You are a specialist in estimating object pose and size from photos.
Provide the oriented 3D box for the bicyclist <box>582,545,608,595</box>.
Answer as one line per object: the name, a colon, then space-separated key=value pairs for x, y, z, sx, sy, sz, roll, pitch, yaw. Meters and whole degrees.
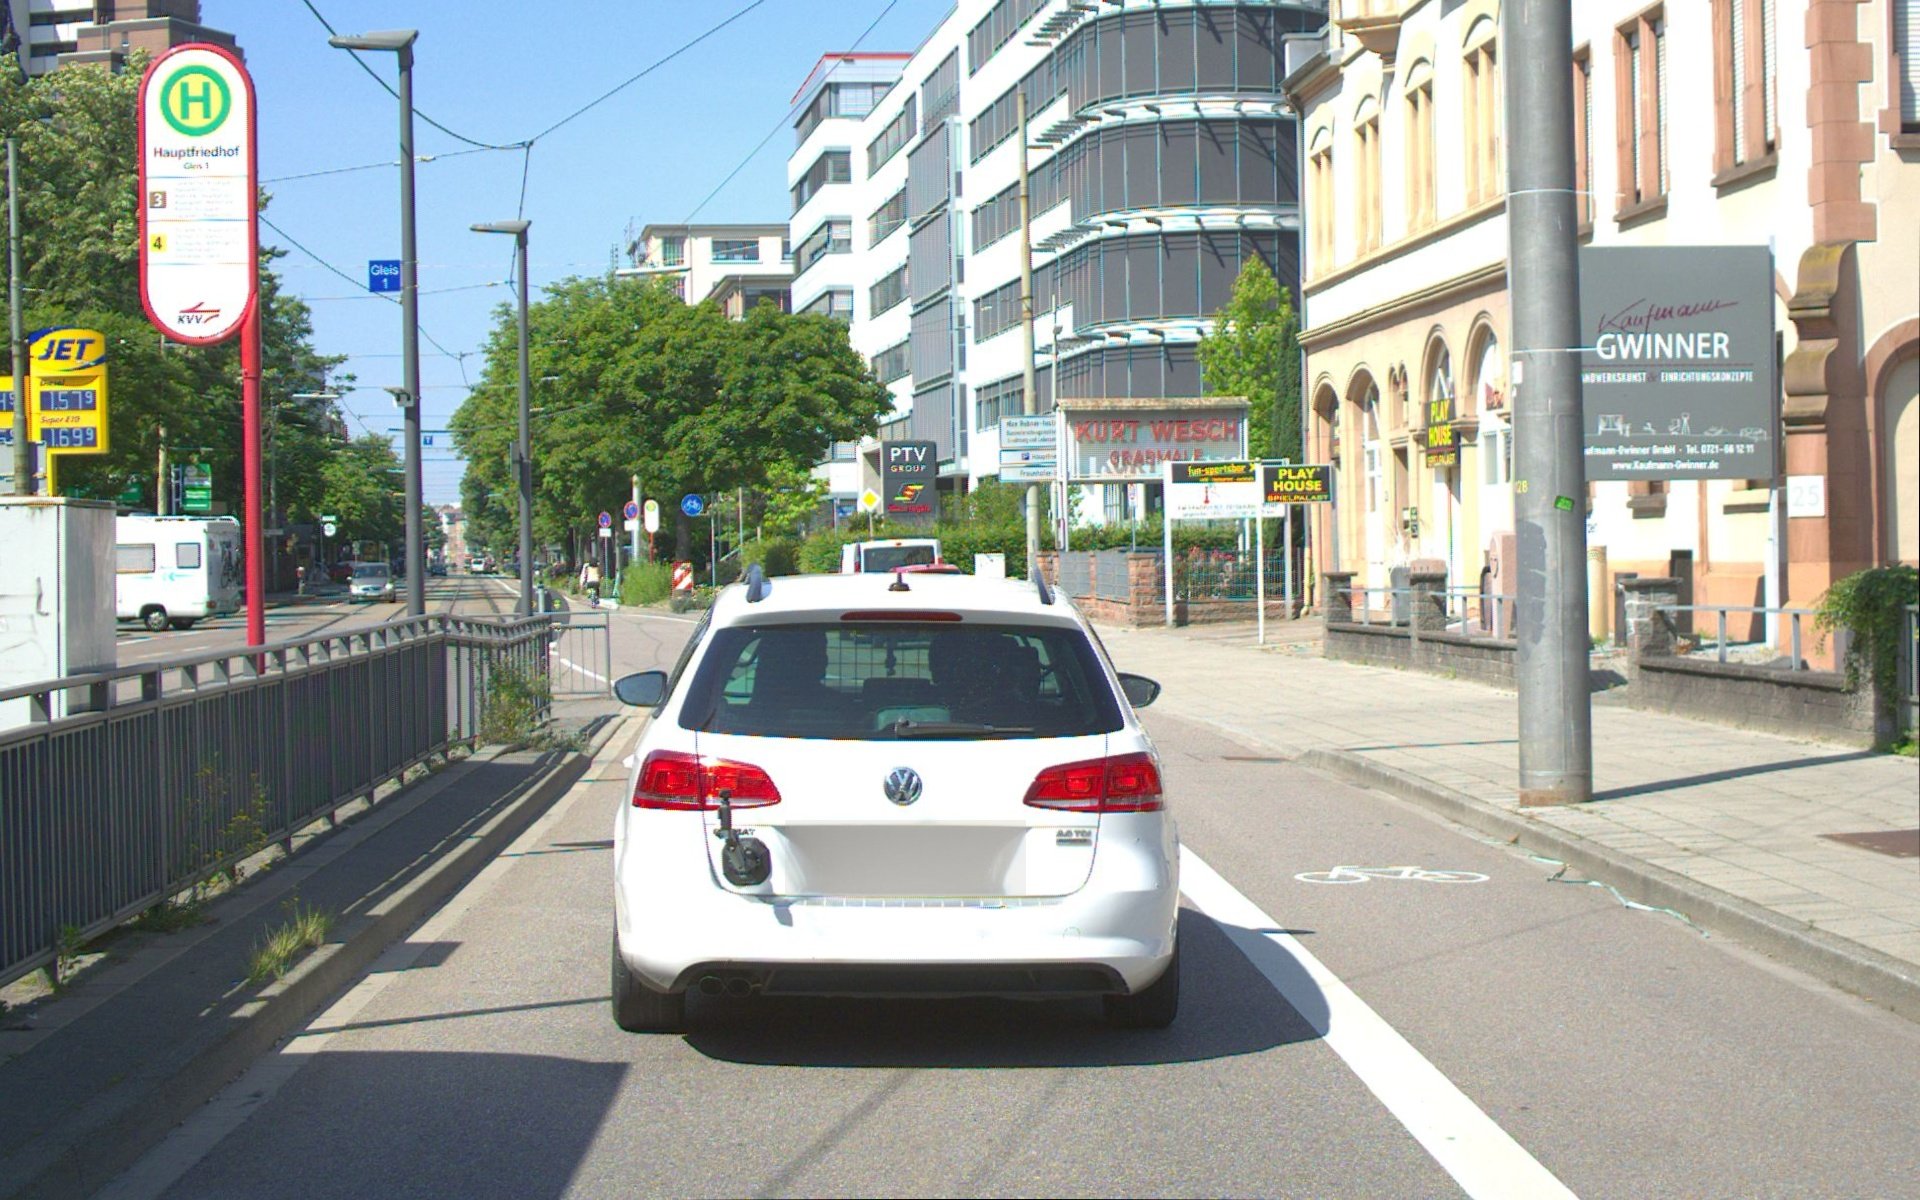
bicyclist: x=-11.884 y=-0.980 z=111.888 sx=0.785 sy=1.624 sz=0.738 roll=1 pitch=0 yaw=-7

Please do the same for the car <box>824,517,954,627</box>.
car: x=-1.494 y=-0.571 z=69.718 sx=1.976 sy=2.047 sz=5.192 roll=-3 pitch=1 yaw=-8

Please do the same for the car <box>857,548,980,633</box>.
car: x=-0.799 y=-0.191 z=63.713 sx=1.721 sy=1.438 sz=4.313 roll=-3 pitch=1 yaw=-7

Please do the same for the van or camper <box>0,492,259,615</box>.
van or camper: x=-21.984 y=-1.220 z=89.621 sx=6.693 sy=2.957 sz=2.616 roll=2 pitch=0 yaw=7

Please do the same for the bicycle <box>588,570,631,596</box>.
bicycle: x=-15.119 y=-0.735 z=148.183 sx=1.773 sy=1.079 sz=0.597 roll=-2 pitch=1 yaw=-10

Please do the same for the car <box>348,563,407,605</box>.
car: x=-22.799 y=-0.619 z=134.700 sx=1.746 sy=1.566 sz=3.892 roll=-2 pitch=0 yaw=-3

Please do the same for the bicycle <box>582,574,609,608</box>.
bicycle: x=-11.851 y=-0.291 z=111.817 sx=0.811 sy=1.074 sz=2.012 roll=-1 pitch=1 yaw=-7

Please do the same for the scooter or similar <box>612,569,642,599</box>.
scooter or similar: x=-13.115 y=-0.625 z=135.389 sx=1.143 sy=1.150 sz=0.493 roll=-1 pitch=0 yaw=-2

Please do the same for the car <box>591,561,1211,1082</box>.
car: x=-0.315 y=0.603 z=11.942 sx=1.753 sy=1.437 sz=4.413 roll=0 pitch=1 yaw=-4
